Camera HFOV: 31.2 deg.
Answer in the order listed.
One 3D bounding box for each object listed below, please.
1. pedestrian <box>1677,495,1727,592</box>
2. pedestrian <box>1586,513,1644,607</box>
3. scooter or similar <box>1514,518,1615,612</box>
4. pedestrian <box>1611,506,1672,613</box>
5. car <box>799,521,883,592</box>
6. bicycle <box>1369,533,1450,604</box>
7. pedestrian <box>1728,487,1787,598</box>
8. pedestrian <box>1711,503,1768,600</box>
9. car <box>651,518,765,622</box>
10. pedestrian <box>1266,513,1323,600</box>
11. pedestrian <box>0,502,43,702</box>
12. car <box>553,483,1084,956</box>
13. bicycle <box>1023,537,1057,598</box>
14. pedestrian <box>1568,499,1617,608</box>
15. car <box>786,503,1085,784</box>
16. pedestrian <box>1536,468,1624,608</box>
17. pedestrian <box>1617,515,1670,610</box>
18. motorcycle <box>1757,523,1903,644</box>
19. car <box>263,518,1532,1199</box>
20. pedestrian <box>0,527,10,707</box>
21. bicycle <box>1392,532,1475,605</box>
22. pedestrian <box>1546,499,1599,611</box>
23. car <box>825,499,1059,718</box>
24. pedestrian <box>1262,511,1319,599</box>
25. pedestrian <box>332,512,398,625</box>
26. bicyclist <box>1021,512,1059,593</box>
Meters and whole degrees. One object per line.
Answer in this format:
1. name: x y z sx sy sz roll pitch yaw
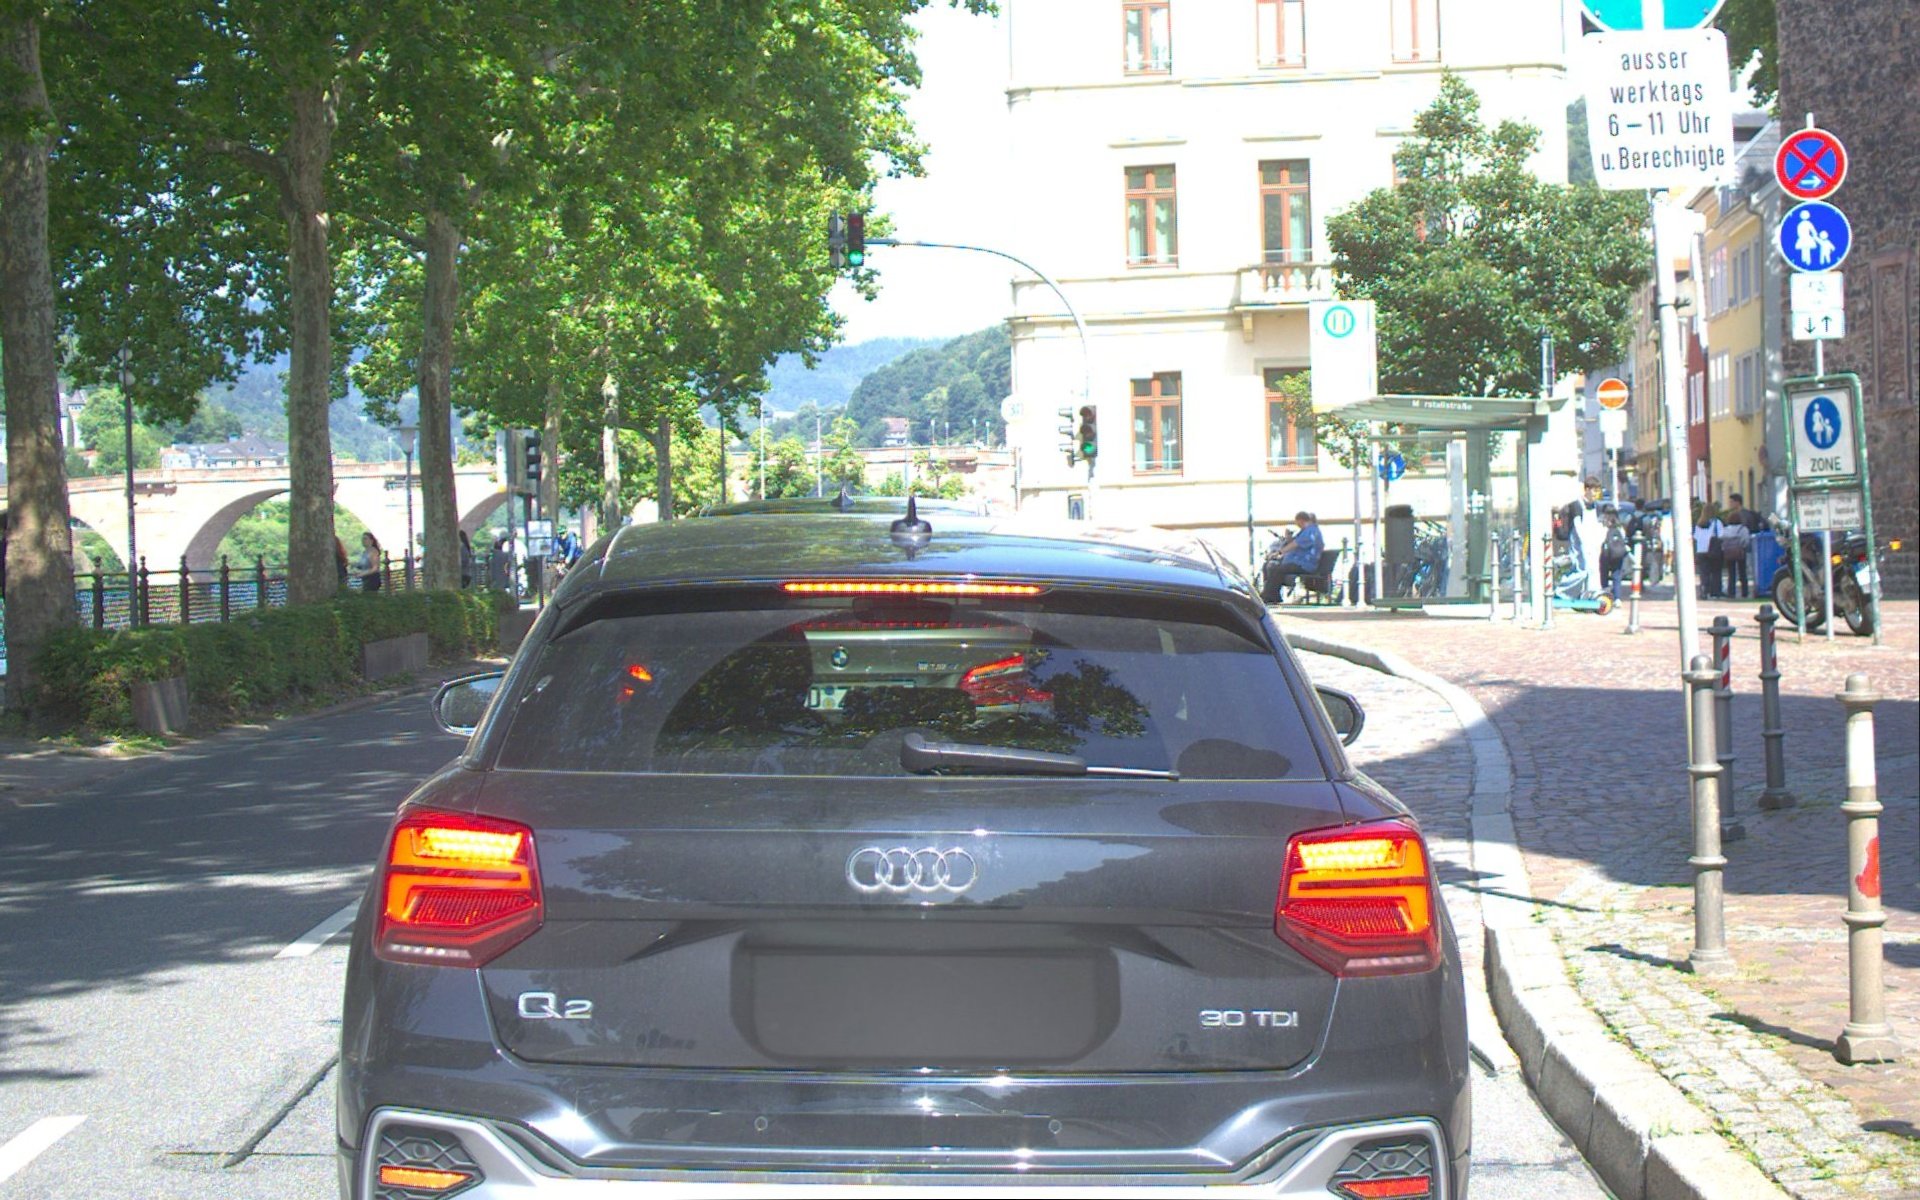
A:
1. pedestrian: 12.577 -0.956 58.303 0.607 1.613 0.710 -3 0 -1
2. pedestrian: 10.304 -0.631 54.085 0.638 1.439 0.799 -2 1 -7
3. scooter or similar: 6.934 -0.399 39.431 1.088 1.062 0.323 1 0 -2
4. pedestrian: 12.880 -0.763 64.990 0.940 2.007 0.807 1 0 -3
5. car: -3.106 -1.136 90.506 1.993 1.800 4.000 1 0 1
6. bicycle: 6.482 -0.454 49.594 1.184 1.012 0.179 1 0 -19
7. pedestrian: 13.784 -0.991 59.412 0.749 1.884 0.750 -2 1 -2
8. pedestrian: 13.194 -0.827 58.171 0.691 1.607 0.891 -2 1 -1
9. car: -4.401 -0.552 60.506 1.673 1.654 4.223 -4 1 -1
10. pedestrian: 4.679 -0.609 48.087 0.663 1.207 0.641 1 0 -6
11. pedestrian: -9.053 0.014 32.711 0.534 1.880 0.436 0 1 -1
12. car: -0.505 0.372 13.450 1.793 1.589 3.399 1 1 -1
13. bicycle: 1.445 -0.592 62.401 0.437 1.082 1.677 1 0 -5
14. pedestrian: 13.678 -1.003 74.366 0.880 2.350 0.744 1 0 21
15. car: -0.161 0.210 21.551 1.710 1.603 3.655 0 1 -1
16. pedestrian: 7.508 -0.749 41.646 0.654 1.656 0.810 -2 1 -26
17. pedestrian: 14.701 -0.805 73.989 0.944 2.007 0.807 1 0 0
18. motorcycle: 7.602 -0.168 30.148 0.566 1.009 2.490 -1 1 -2
19. car: -0.112 0.611 6.591 1.743 1.504 3.647 1 1 -1
20. pedestrian: -9.299 0.166 32.203 0.601 1.680 0.583 -1 1 -2
21. bicycle: 6.748 -0.445 48.970 1.201 1.031 0.179 1 0 -19
22. pedestrian: 7.607 -0.557 42.699 0.557 1.380 0.588 1 0 2
23. car: -0.161 0.023 28.631 1.794 1.676 4.000 1 1 -1
24. pedestrian: 4.695 -0.641 48.856 0.663 1.227 0.641 1 0 -6
25. pedestrian: -9.569 -0.507 55.329 0.911 1.805 0.585 1 0 4
26. bicyclist: 1.447 -0.865 62.444 0.605 1.445 0.591 1 0 -5
